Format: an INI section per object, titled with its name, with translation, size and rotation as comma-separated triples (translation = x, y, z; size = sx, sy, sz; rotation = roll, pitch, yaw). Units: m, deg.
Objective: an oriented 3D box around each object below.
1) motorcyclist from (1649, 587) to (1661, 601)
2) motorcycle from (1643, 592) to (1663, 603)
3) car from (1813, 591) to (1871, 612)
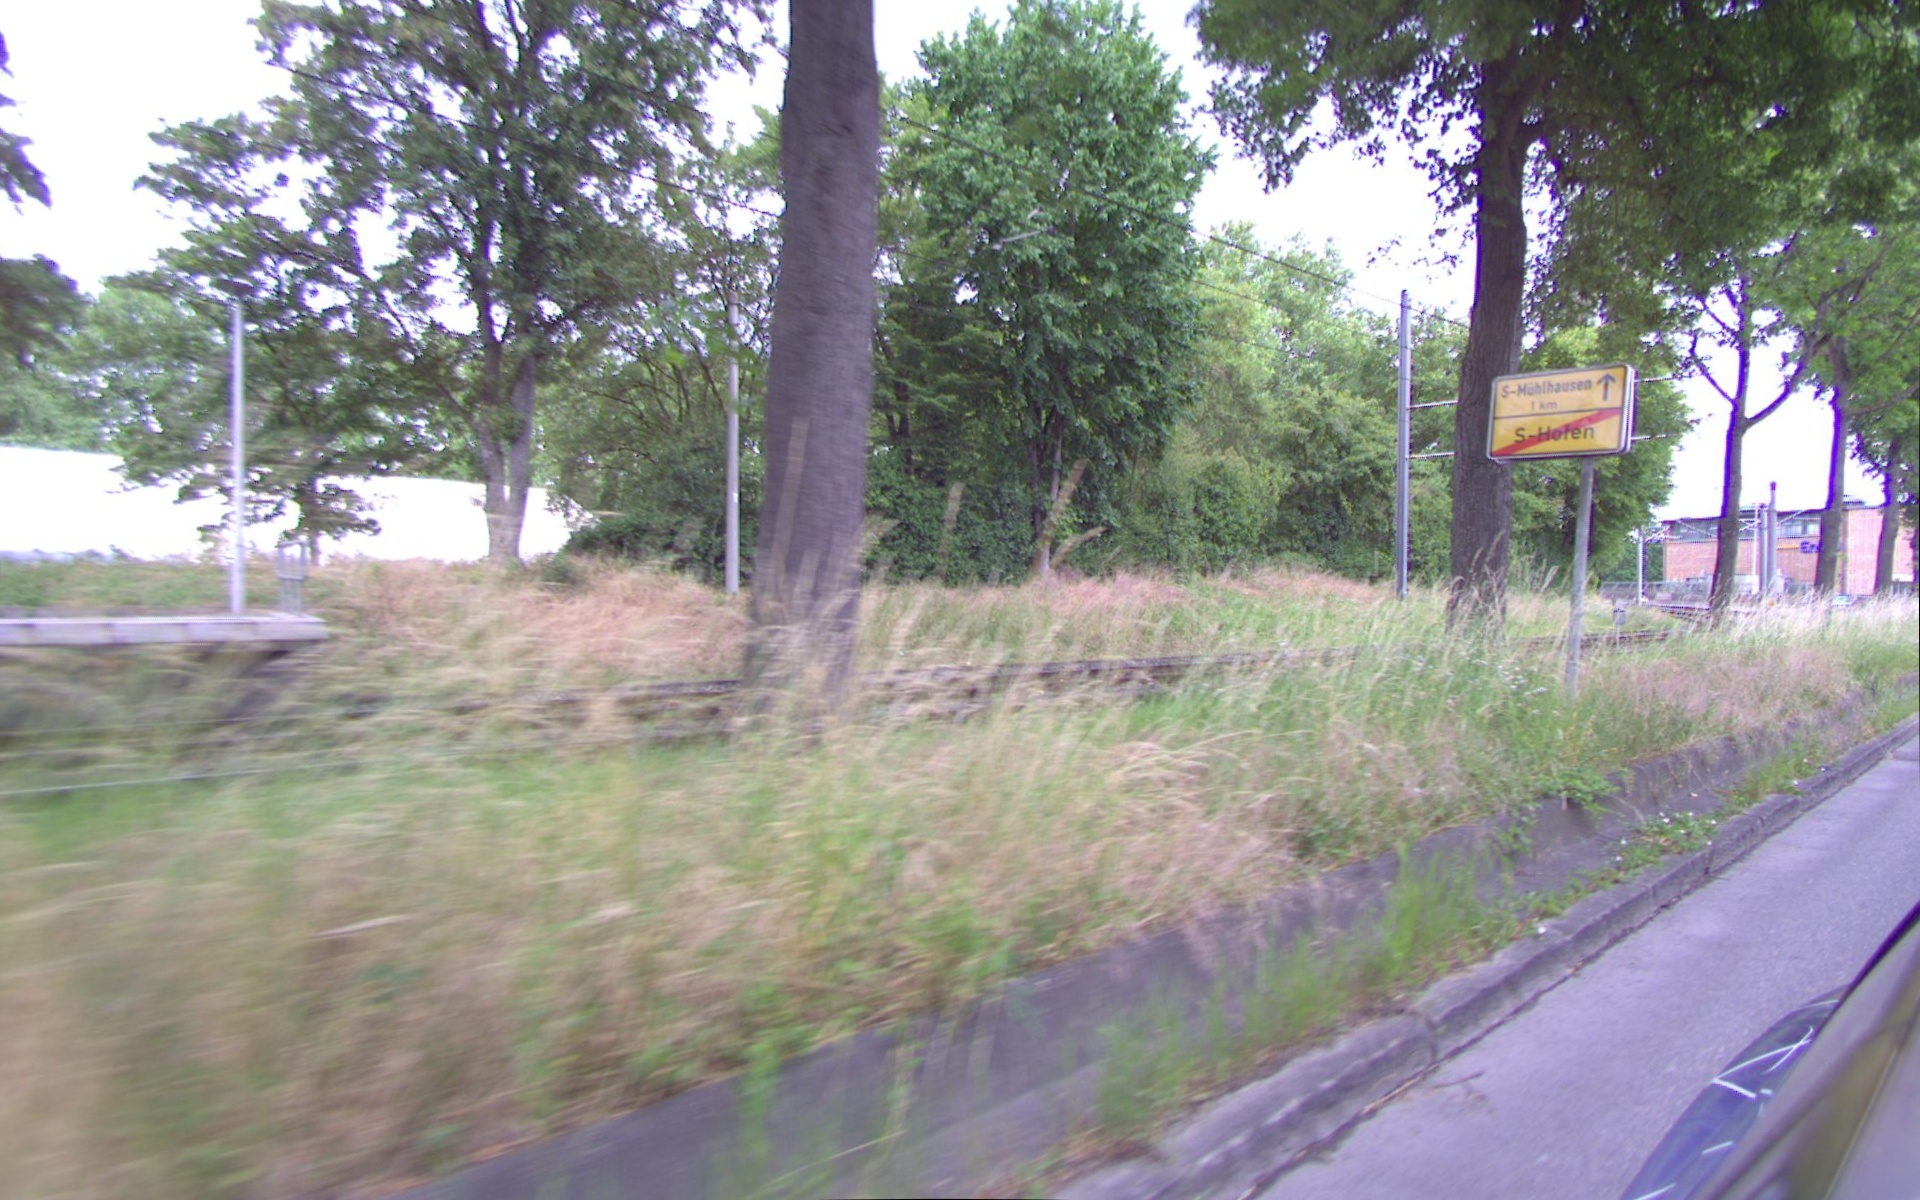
[motorcyclist]
translation = 67.543, -0.599, 98.343
size = 0.609, 1.373, 0.841
rotation = 0, 0, -4
[motorcycle]
translation = 67.538, -0.258, 98.582
size = 0.671, 1.074, 1.721
rotation = 0, 1, -4
[car]
translation = 66.339, 0.115, 76.173
size = 1.561, 1.505, 3.683
rotation = -1, -1, 11
